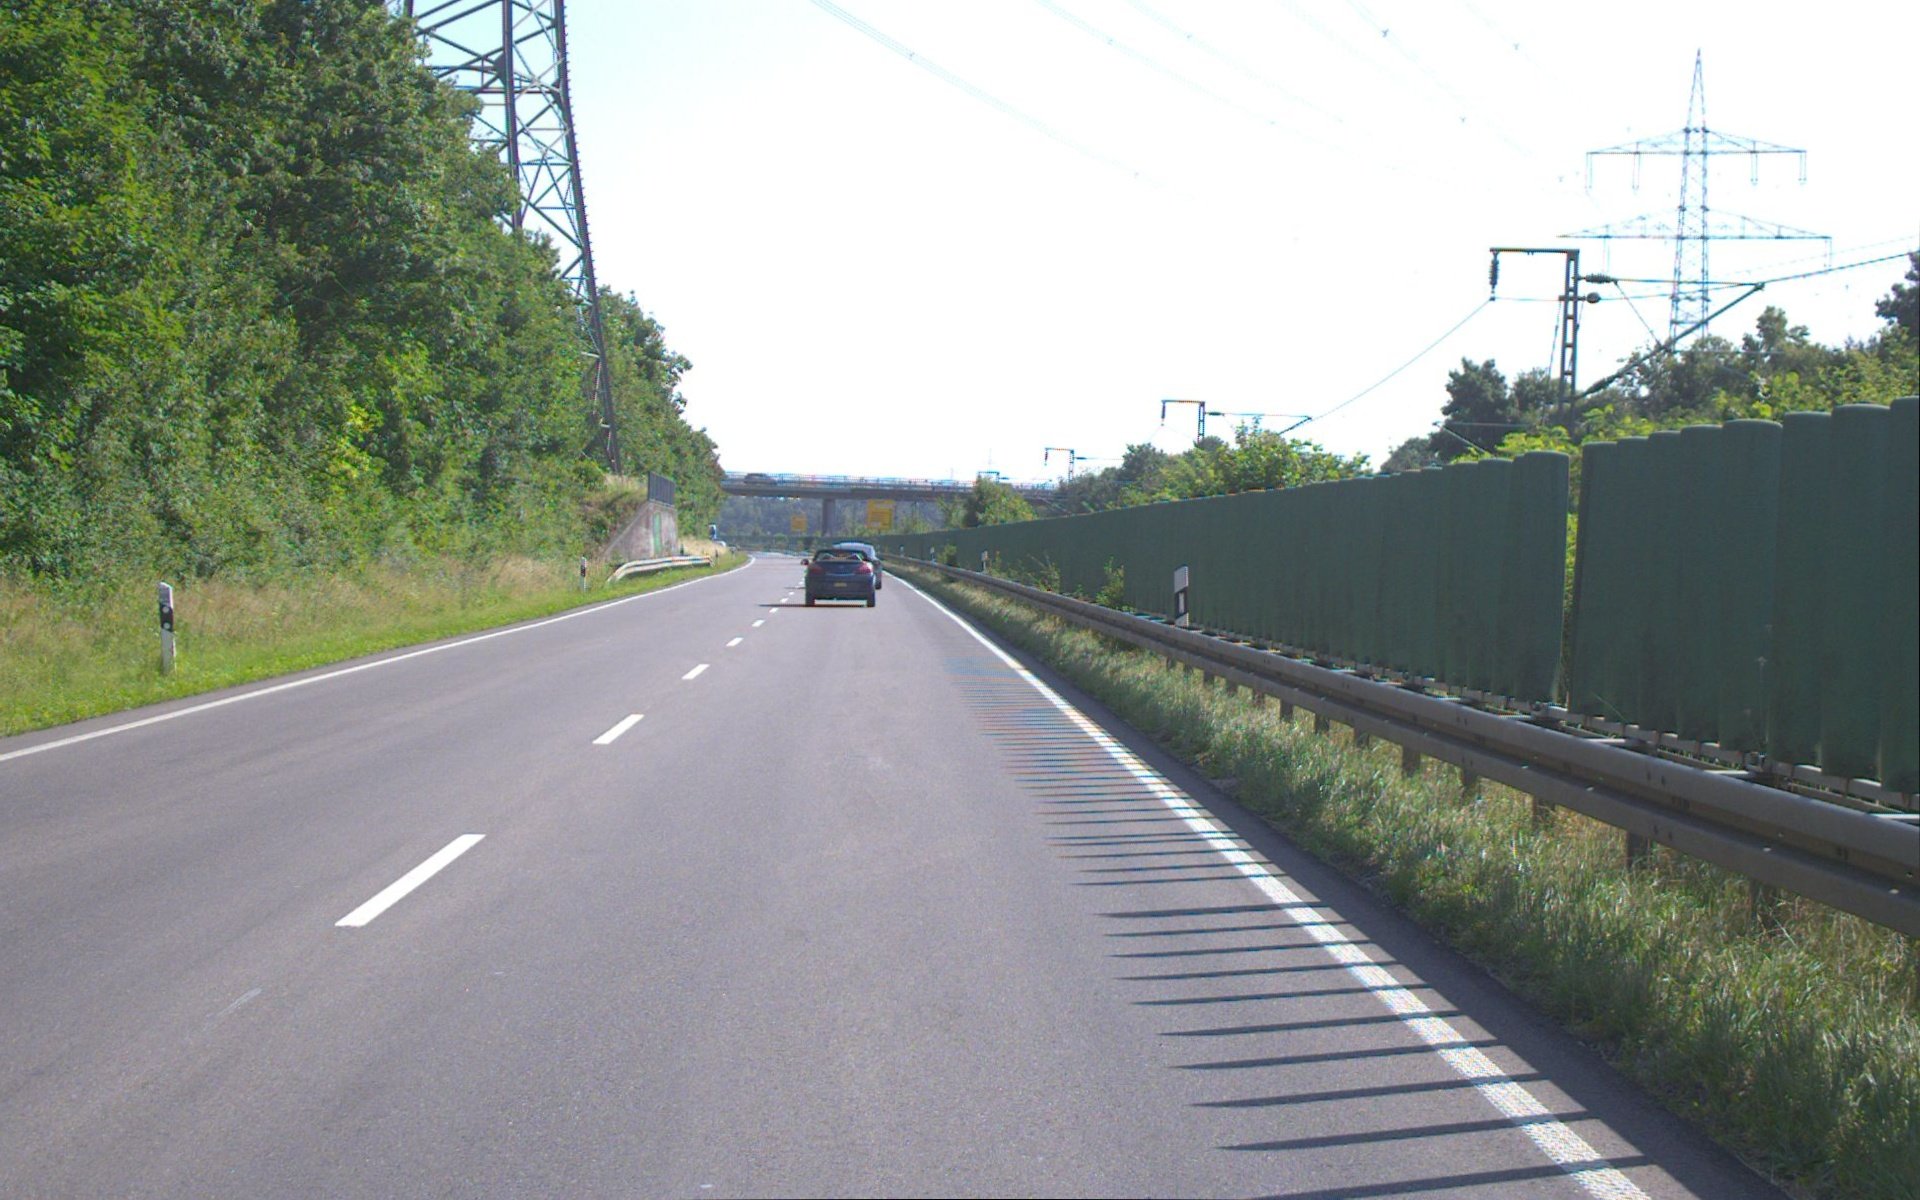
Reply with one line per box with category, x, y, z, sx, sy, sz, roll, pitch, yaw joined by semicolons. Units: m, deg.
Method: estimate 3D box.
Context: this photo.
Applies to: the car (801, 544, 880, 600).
car;-2.834;-0.662;80.982;1.663;1.257;4.001;1;1;-4
